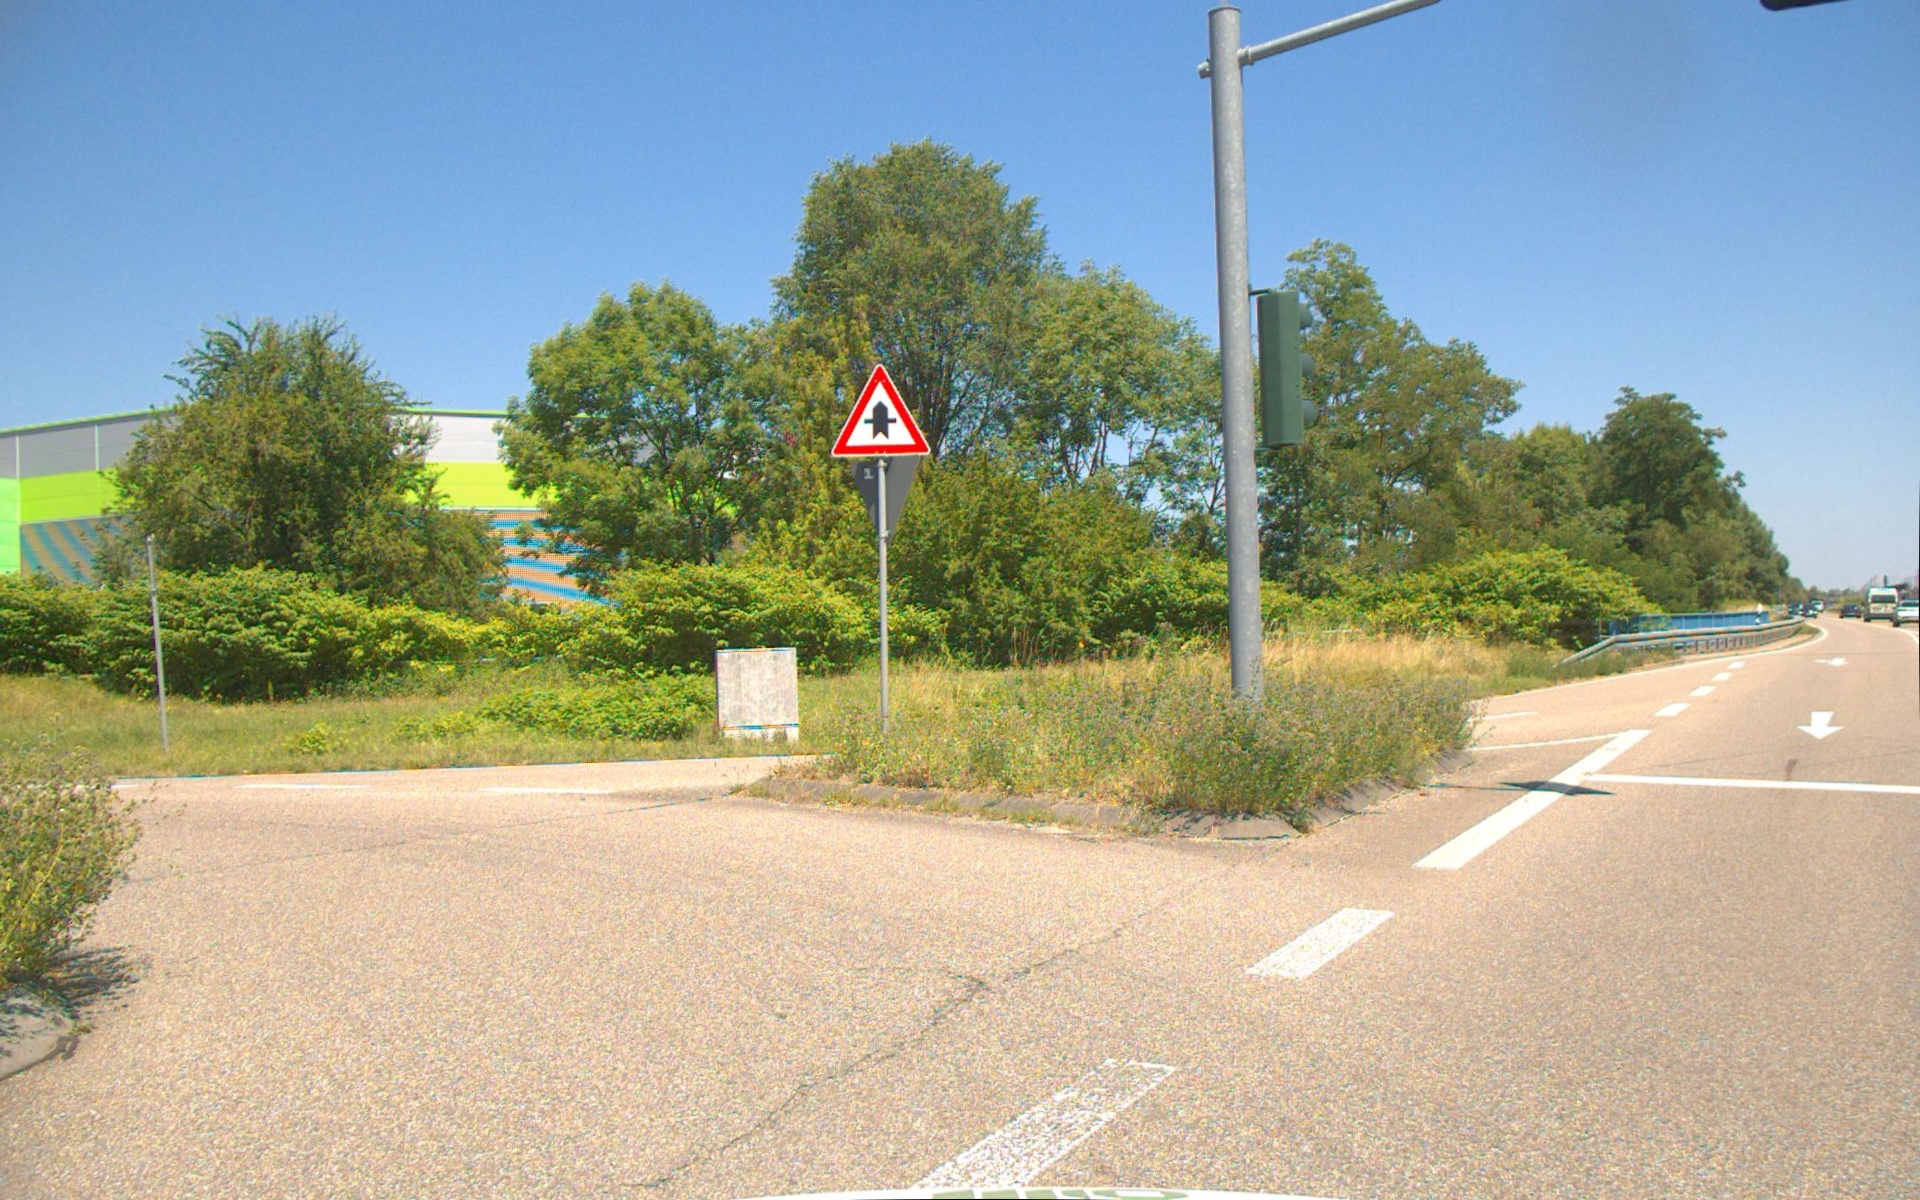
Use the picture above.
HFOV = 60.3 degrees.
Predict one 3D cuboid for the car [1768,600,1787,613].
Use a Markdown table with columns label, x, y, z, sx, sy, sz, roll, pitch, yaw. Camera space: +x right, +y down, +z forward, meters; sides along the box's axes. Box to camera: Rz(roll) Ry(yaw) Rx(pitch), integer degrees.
| label | x | y | z | sx | sy | sz | roll | pitch | yaw |
| --- | --- | --- | --- | --- | --- | --- | --- | --- | --- |
| car | 92.470 | 0.726 | 187.035 | 1.820 | 1.404 | 4.498 | 0 | 0 | 27 |

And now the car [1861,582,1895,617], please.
| label | x | y | z | sx | sy | sz | roll | pitch | yaw |
| --- | --- | --- | --- | --- | --- | --- | --- | --- | --- |
| car | 71.114 | -0.023 | 128.228 | 2.146 | 2.649 | 6.741 | 0 | 0 | 28 |

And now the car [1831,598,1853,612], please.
| label | x | y | z | sx | sy | sz | roll | pitch | yaw |
| --- | --- | --- | --- | --- | --- | --- | --- | --- | --- |
| car | 88.307 | 0.470 | 165.643 | 1.820 | 1.404 | 4.498 | 0 | 0 | 26 |

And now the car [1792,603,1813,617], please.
| label | x | y | z | sx | sy | sz | roll | pitch | yaw |
| --- | --- | --- | --- | --- | --- | --- | --- | --- | --- |
| car | 85.340 | 0.978 | 167.526 | 1.820 | 1.404 | 4.498 | 0 | 0 | 27 |

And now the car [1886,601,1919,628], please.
| label | x | y | z | sx | sy | sz | roll | pitch | yaw |
| --- | --- | --- | --- | --- | --- | --- | --- | --- | --- |
| car | 57.137 | 0.841 | 99.978 | 1.782 | 1.591 | 4.275 | -1 | 0 | 26 |
